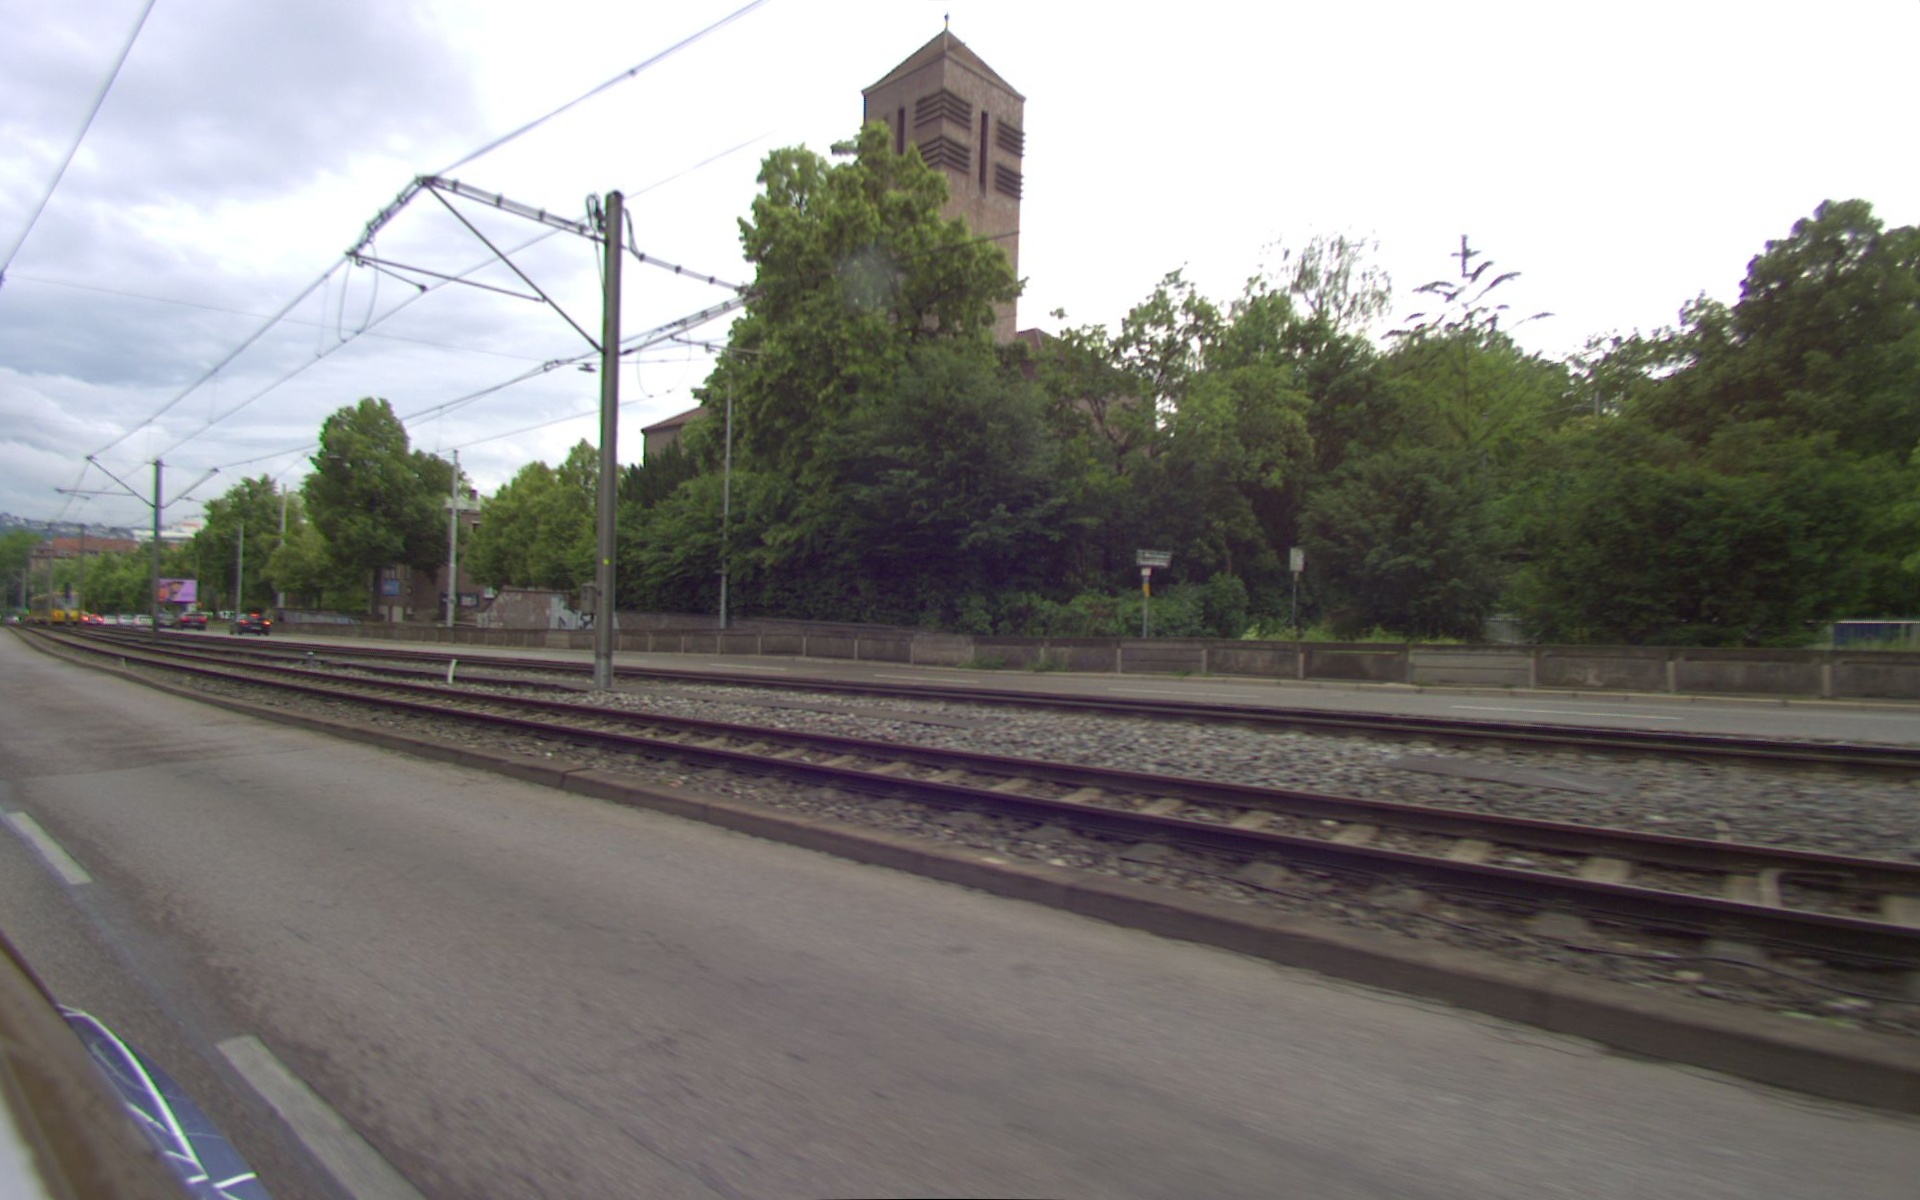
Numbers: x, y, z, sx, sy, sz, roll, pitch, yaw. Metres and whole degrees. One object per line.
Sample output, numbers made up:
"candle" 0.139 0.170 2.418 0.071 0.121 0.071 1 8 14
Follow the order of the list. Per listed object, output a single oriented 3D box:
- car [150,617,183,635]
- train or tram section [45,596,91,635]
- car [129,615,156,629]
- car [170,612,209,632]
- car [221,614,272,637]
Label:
"car" -79.049 2.576 100.777 4.413 1.656 1.971 -1 -3 44
"train or tram section" -99.525 1.736 112.810 2.796 4.006 17.886 1 -2 -45
"car" -91.275 2.473 113.004 3.986 1.479 1.727 -1 -4 44
"car" -67.549 1.952 88.665 4.525 1.656 1.971 -1 -3 44
"car" -48.766 1.728 69.164 4.321 1.452 1.944 0 -2 42
